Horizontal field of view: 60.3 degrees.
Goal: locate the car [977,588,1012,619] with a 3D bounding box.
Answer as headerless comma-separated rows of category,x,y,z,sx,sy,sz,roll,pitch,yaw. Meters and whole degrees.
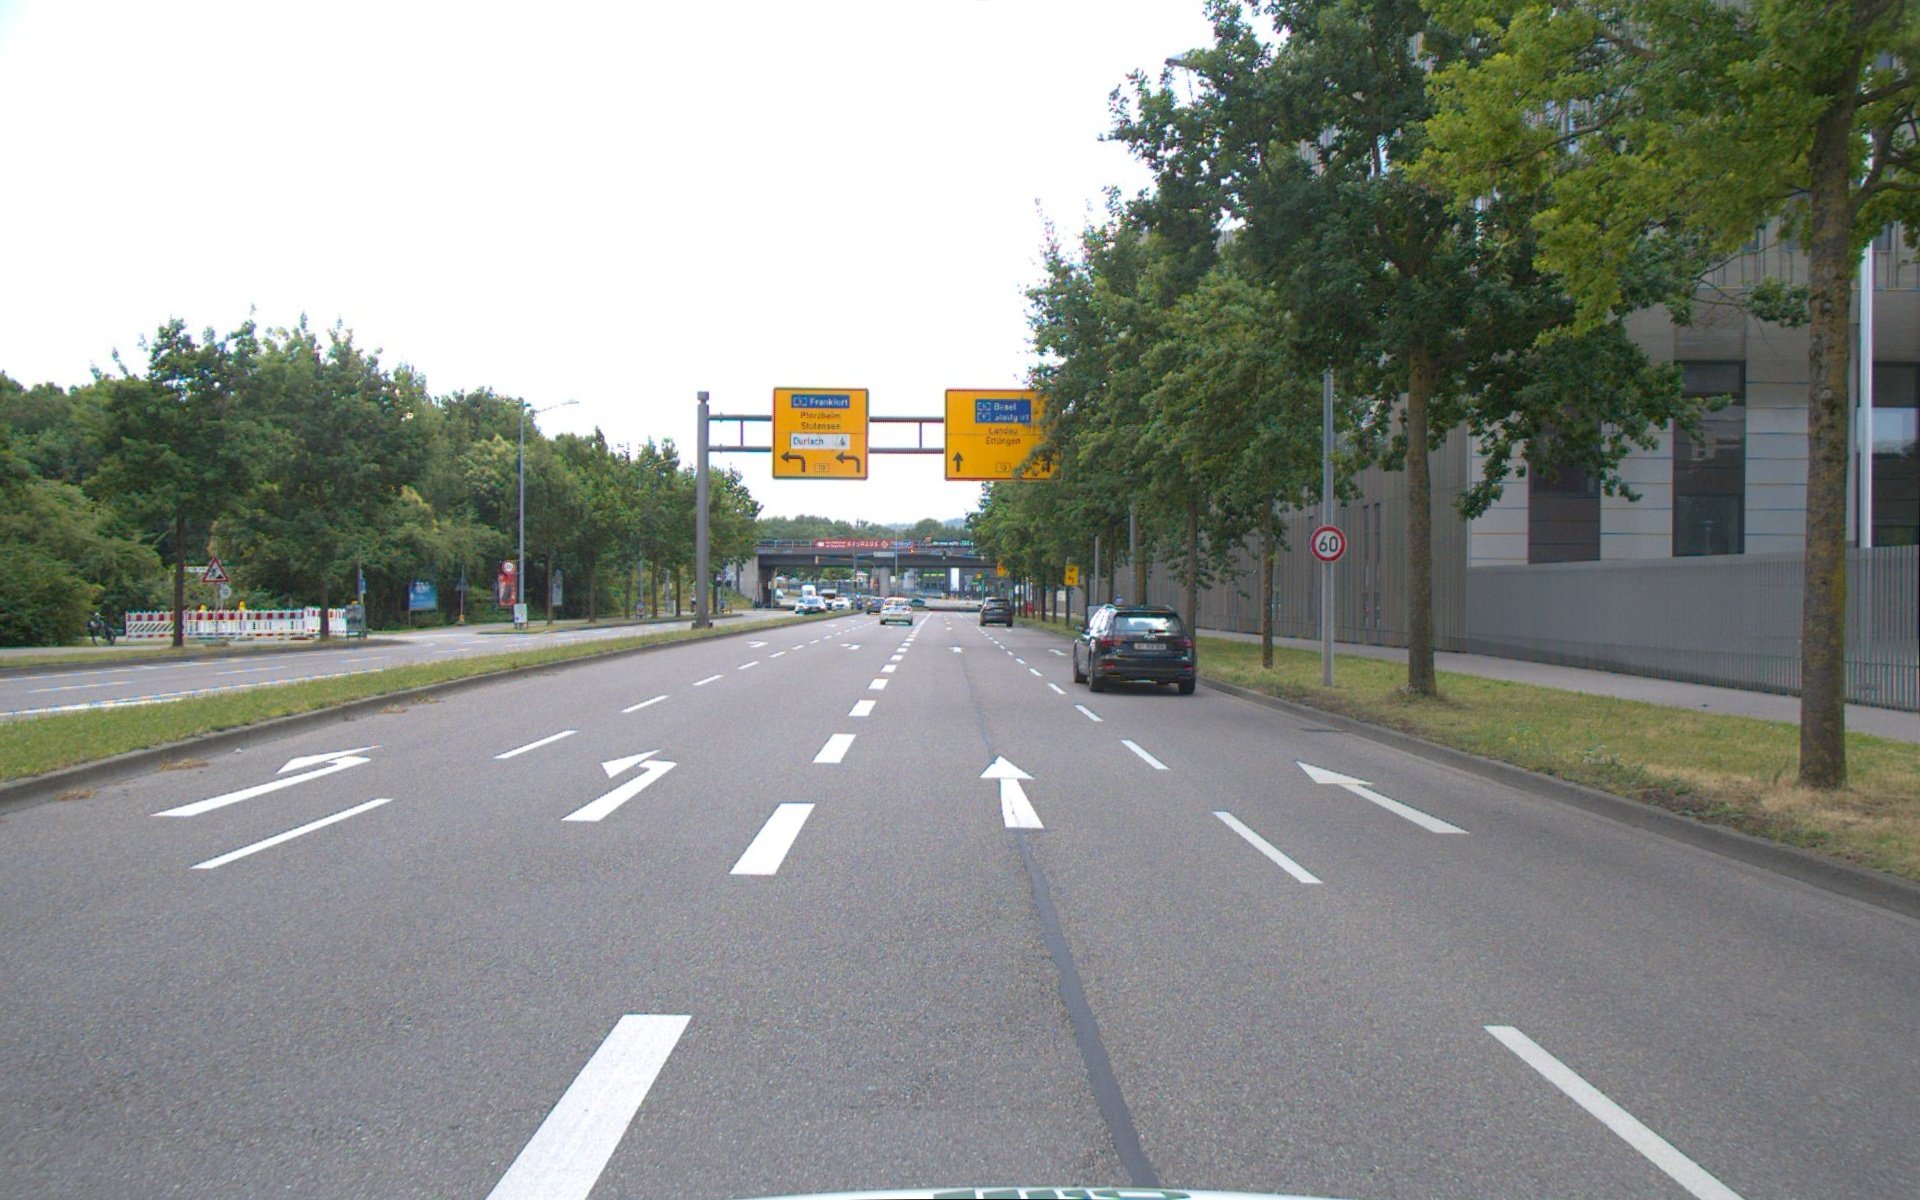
car,1.973,0.180,95.290,1.952,1.654,4.310,-1,1,1

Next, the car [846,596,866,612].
car,-12.089,0.460,192.170,1.952,1.747,4.001,2,-1,2

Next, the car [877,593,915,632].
car,-3.519,0.672,90.081,1.954,2.049,3.997,2,0,-3

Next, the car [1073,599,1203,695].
car,2.997,0.758,28.533,1.650,1.489,3.998,2,0,-2

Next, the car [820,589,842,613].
car,-15.444,0.169,197.655,1.952,2.686,5.237,2,-1,2

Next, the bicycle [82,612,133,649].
bicycle,-25.606,0.913,49.668,0.876,1.078,2.329,0,0,-40

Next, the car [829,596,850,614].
car,-12.816,0.560,176.006,1.953,1.747,3.999,2,-1,-1

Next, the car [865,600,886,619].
car,-7.187,0.786,140.572,1.739,1.489,3.997,2,0,-3

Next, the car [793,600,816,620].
car,-14.923,0.977,158.899,1.953,1.814,3.998,2,-1,-2

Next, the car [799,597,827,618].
car,-12.340,0.613,139.065,1.952,1.646,4.000,0,1,0
